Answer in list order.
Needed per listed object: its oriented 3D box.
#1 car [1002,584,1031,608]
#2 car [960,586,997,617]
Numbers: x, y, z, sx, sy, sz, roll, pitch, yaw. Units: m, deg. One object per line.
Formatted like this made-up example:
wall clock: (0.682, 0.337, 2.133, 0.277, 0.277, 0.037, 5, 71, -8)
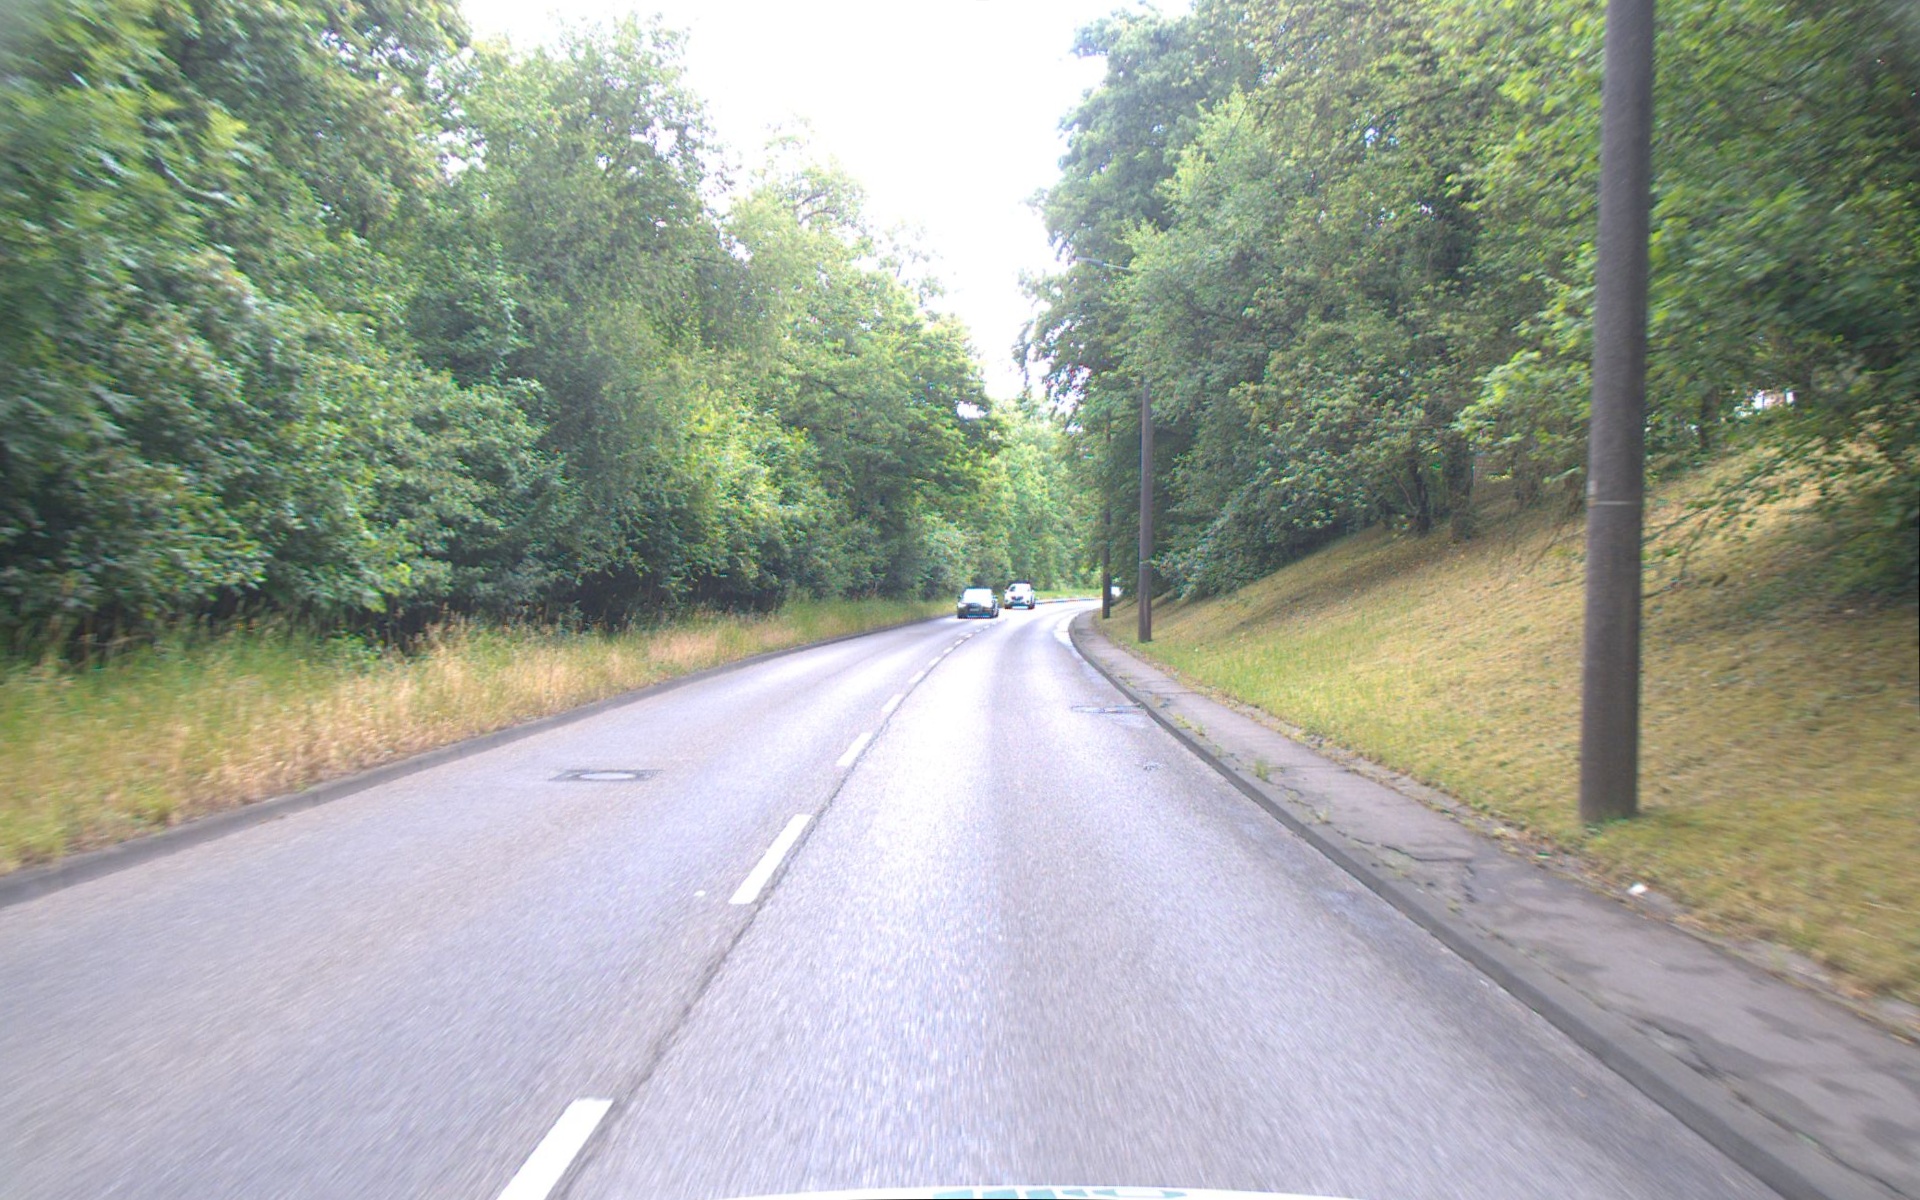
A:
car: (3.827, -0.302, 113.070, 1.902, 1.609, 4.441, 1, 0, 1)
car: (0.932, 0.056, 82.236, 1.772, 1.445, 4.001, 1, 0, 1)
